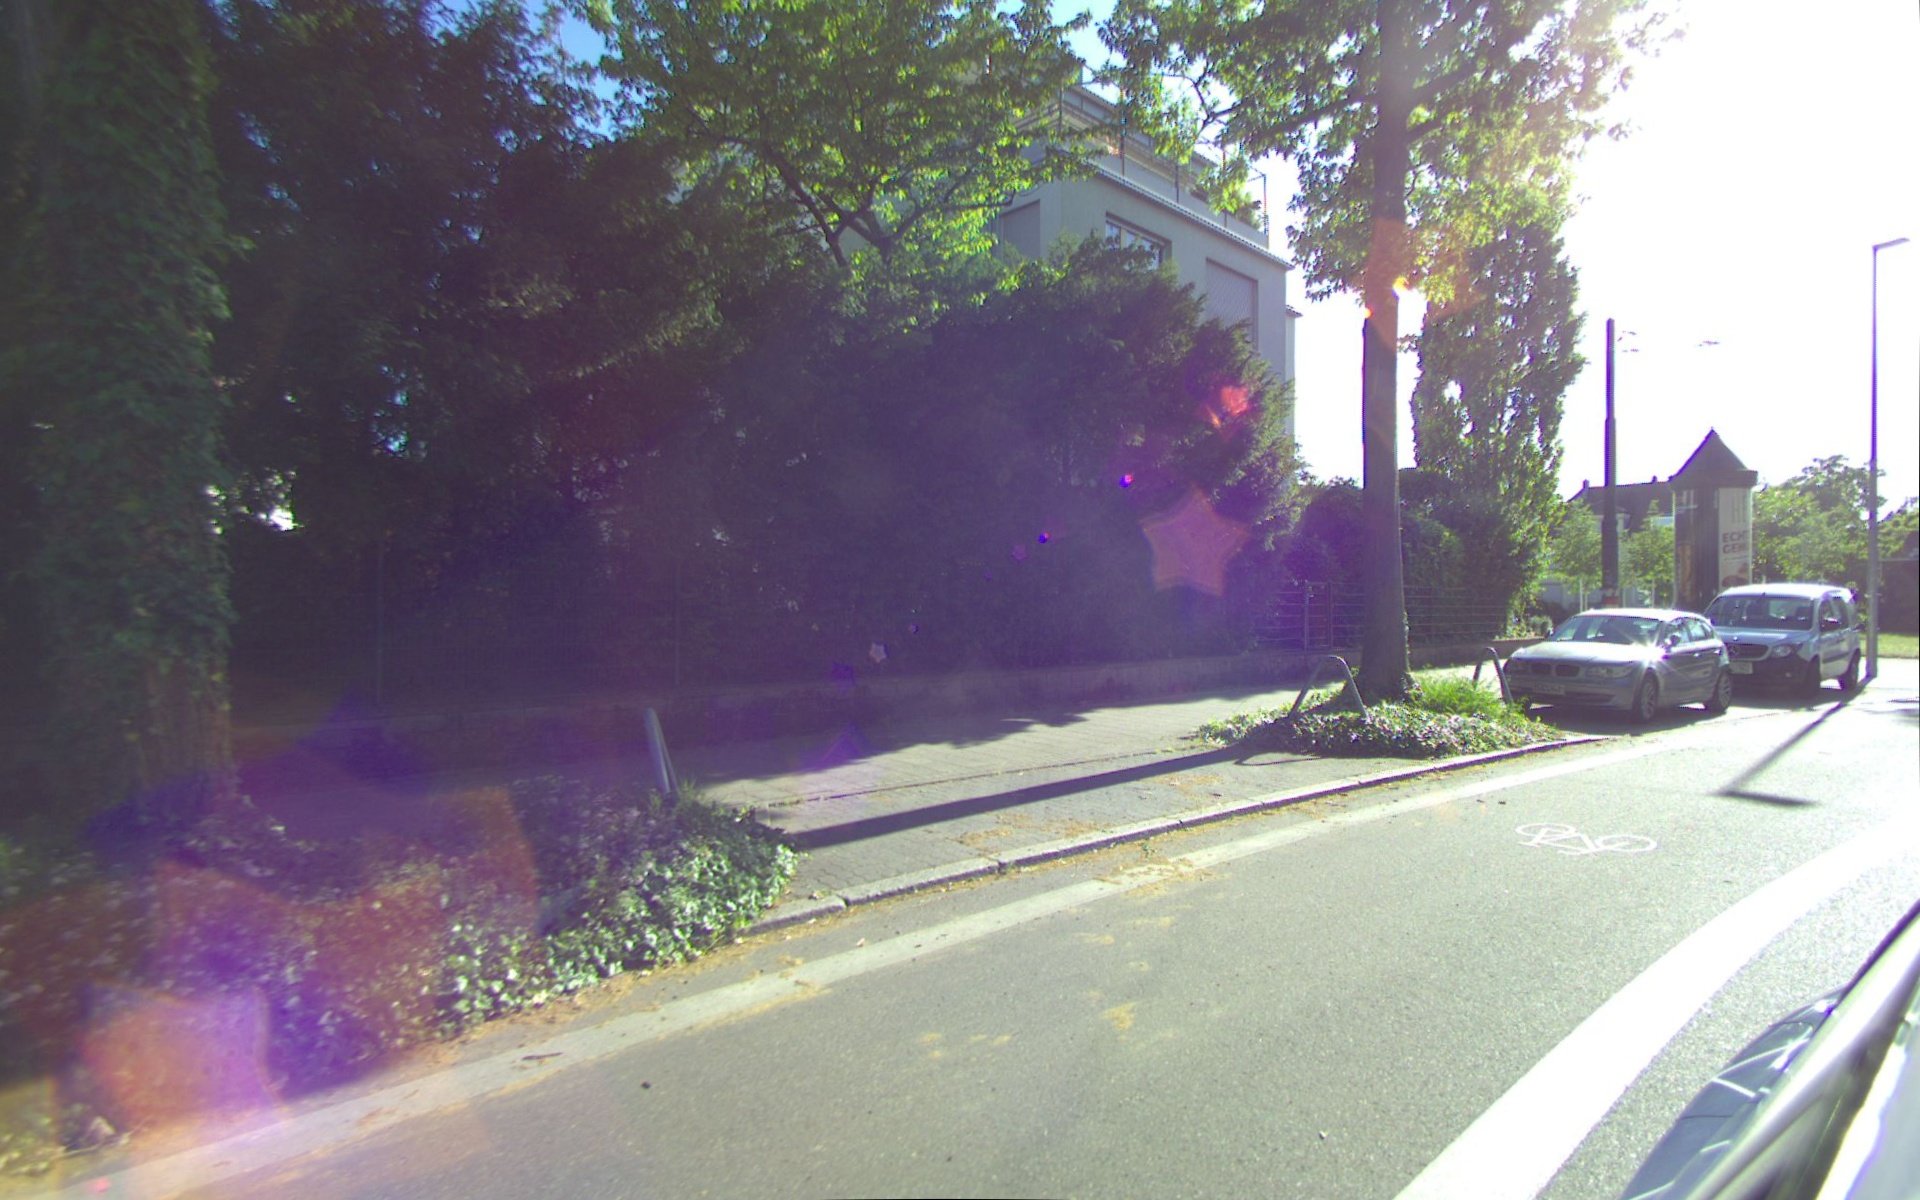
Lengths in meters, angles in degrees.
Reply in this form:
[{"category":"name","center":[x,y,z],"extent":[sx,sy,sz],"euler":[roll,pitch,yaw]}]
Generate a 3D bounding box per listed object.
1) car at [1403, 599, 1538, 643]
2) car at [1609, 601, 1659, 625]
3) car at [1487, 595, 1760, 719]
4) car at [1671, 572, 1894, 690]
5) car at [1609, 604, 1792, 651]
[{"category":"car","center":[19.618,0.758,39.057],"extent":[1.805,1.529,4.295],"euler":[-3,2,-34]},{"category":"car","center":[52.521,0.991,78.857],"extent":[3.925,1.819,1.999],"euler":[0,0,-36]},{"category":"car","center":[9.367,0.667,14.173],"extent":[4.254,1.441,1.998],"euler":[-1,1,-39]},{"category":"car","center":[14.262,0.469,17.454],"extent":[4.665,1.769,2.027],"euler":[0,0,-38]},{"category":"car","center":[24.169,0.850,33.159],"extent":[1.934,1.386,4.519],"euler":[0,0,-40]}]
